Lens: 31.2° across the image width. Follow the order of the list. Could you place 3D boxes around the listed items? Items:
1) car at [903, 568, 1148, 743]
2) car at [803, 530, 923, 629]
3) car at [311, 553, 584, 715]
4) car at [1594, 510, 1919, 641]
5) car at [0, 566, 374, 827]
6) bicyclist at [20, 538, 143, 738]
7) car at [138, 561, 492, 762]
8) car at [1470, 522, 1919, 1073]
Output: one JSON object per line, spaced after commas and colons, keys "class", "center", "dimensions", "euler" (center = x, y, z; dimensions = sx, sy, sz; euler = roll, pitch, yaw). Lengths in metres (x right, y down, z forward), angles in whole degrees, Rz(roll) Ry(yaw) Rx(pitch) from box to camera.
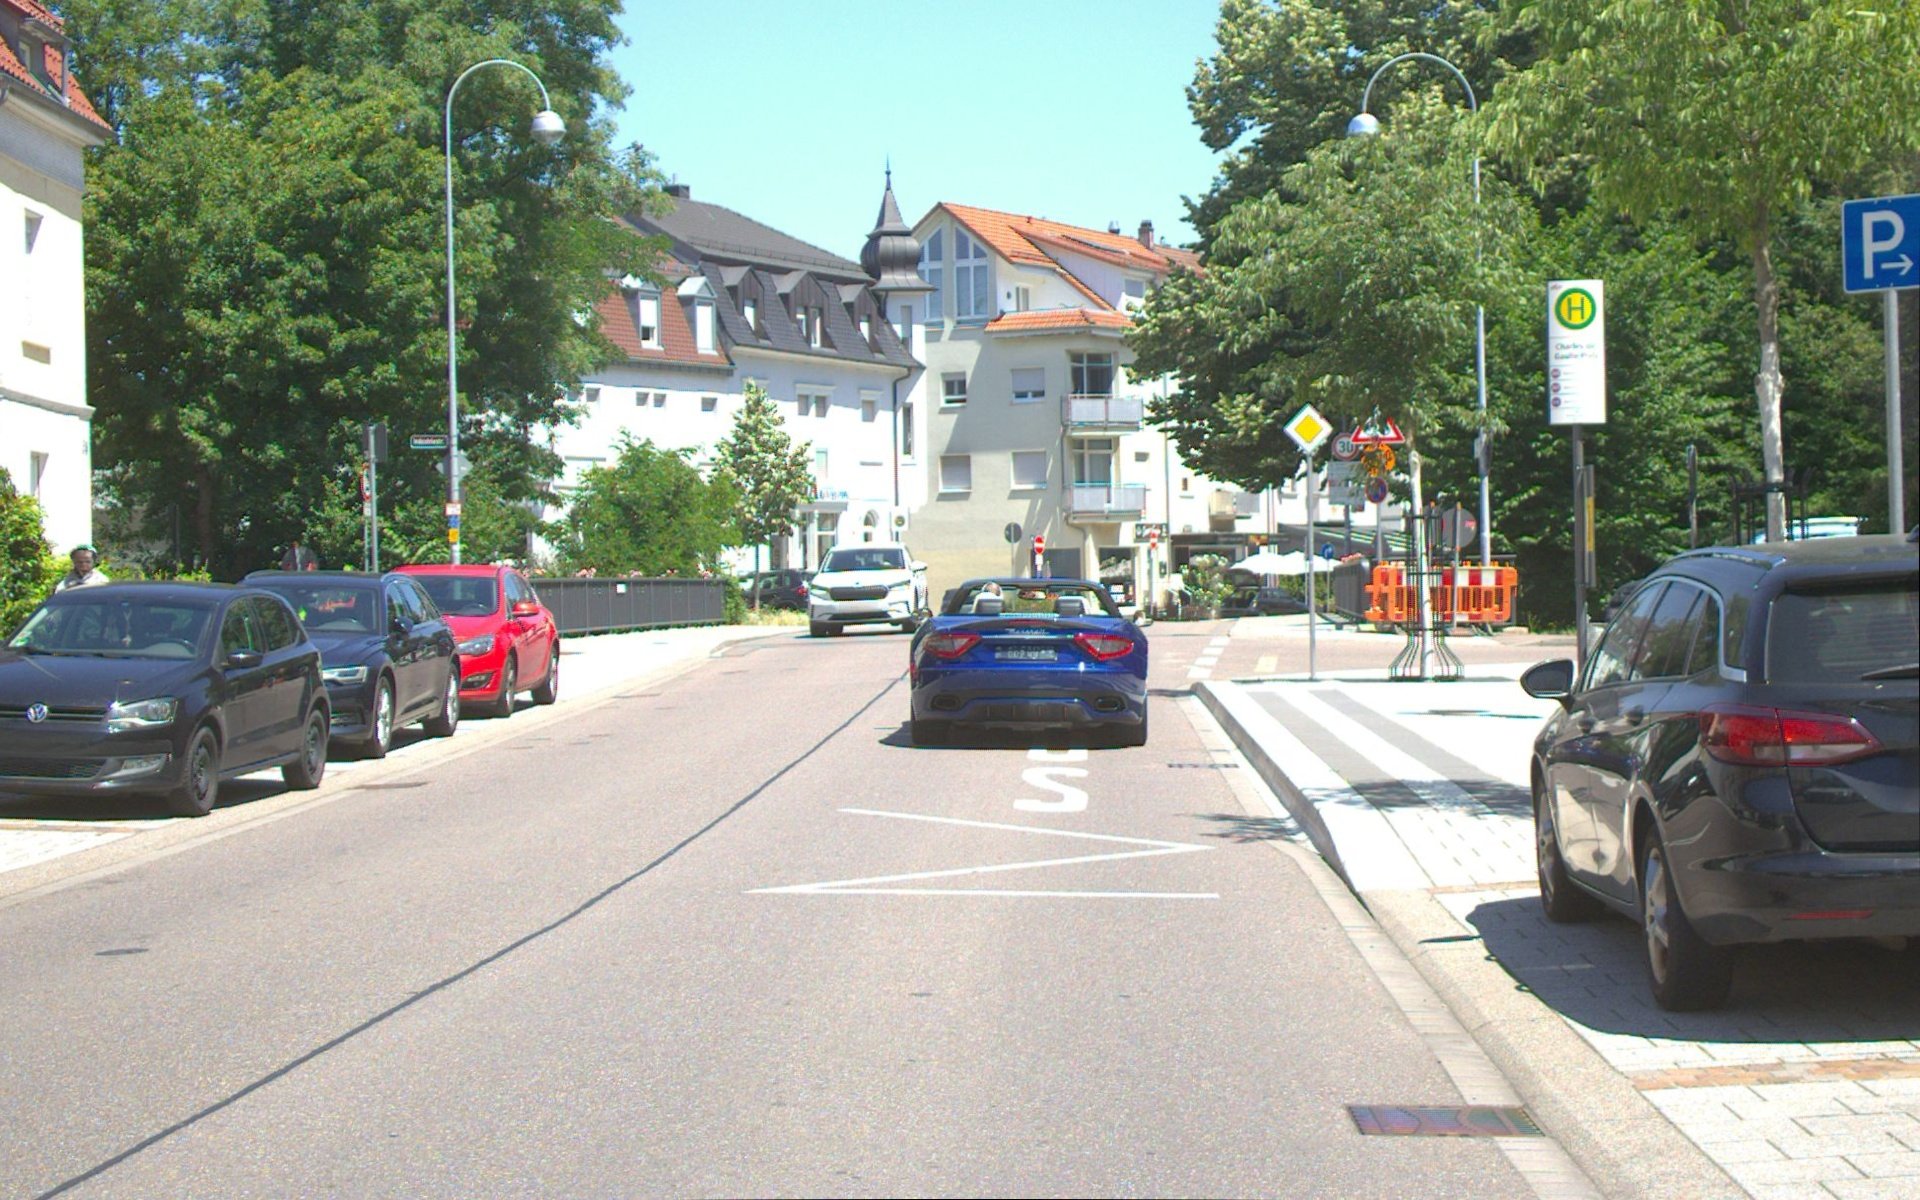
{"class": "car", "center": [0.589, 0.413, 28.640], "dimensions": [1.871, 1.337, 4.595], "euler": [0, 0, 2]}
{"class": "car", "center": [-1.667, -0.380, 60.542], "dimensions": [1.877, 1.591, 4.359], "euler": [-2, 1, 1]}
{"class": "car", "center": [-5.146, 0.288, 35.121], "dimensions": [1.878, 1.474, 4.737], "euler": [2, 1, 2]}
{"class": "car", "center": [11.521, -0.345, 49.577], "dimensions": [4.336, 1.832, 1.750], "euler": [0, 0, -6]}
{"class": "car", "center": [-5.348, 0.559, 22.769], "dimensions": [1.788, 1.454, 4.197], "euler": [2, 2, 6]}
{"class": "bicyclist", "center": [-7.441, 0.314, 29.142], "dimensions": [0.782, 1.653, 0.835], "euler": [-1, 0, 1]}
{"class": "car", "center": [-5.342, 0.444, 29.206], "dimensions": [1.863, 1.456, 5.307], "euler": [1, 1, 2]}
{"class": "car", "center": [3.074, 0.506, 12.247], "dimensions": [1.834, 1.499, 5.063], "euler": [-3, 1, 2]}
